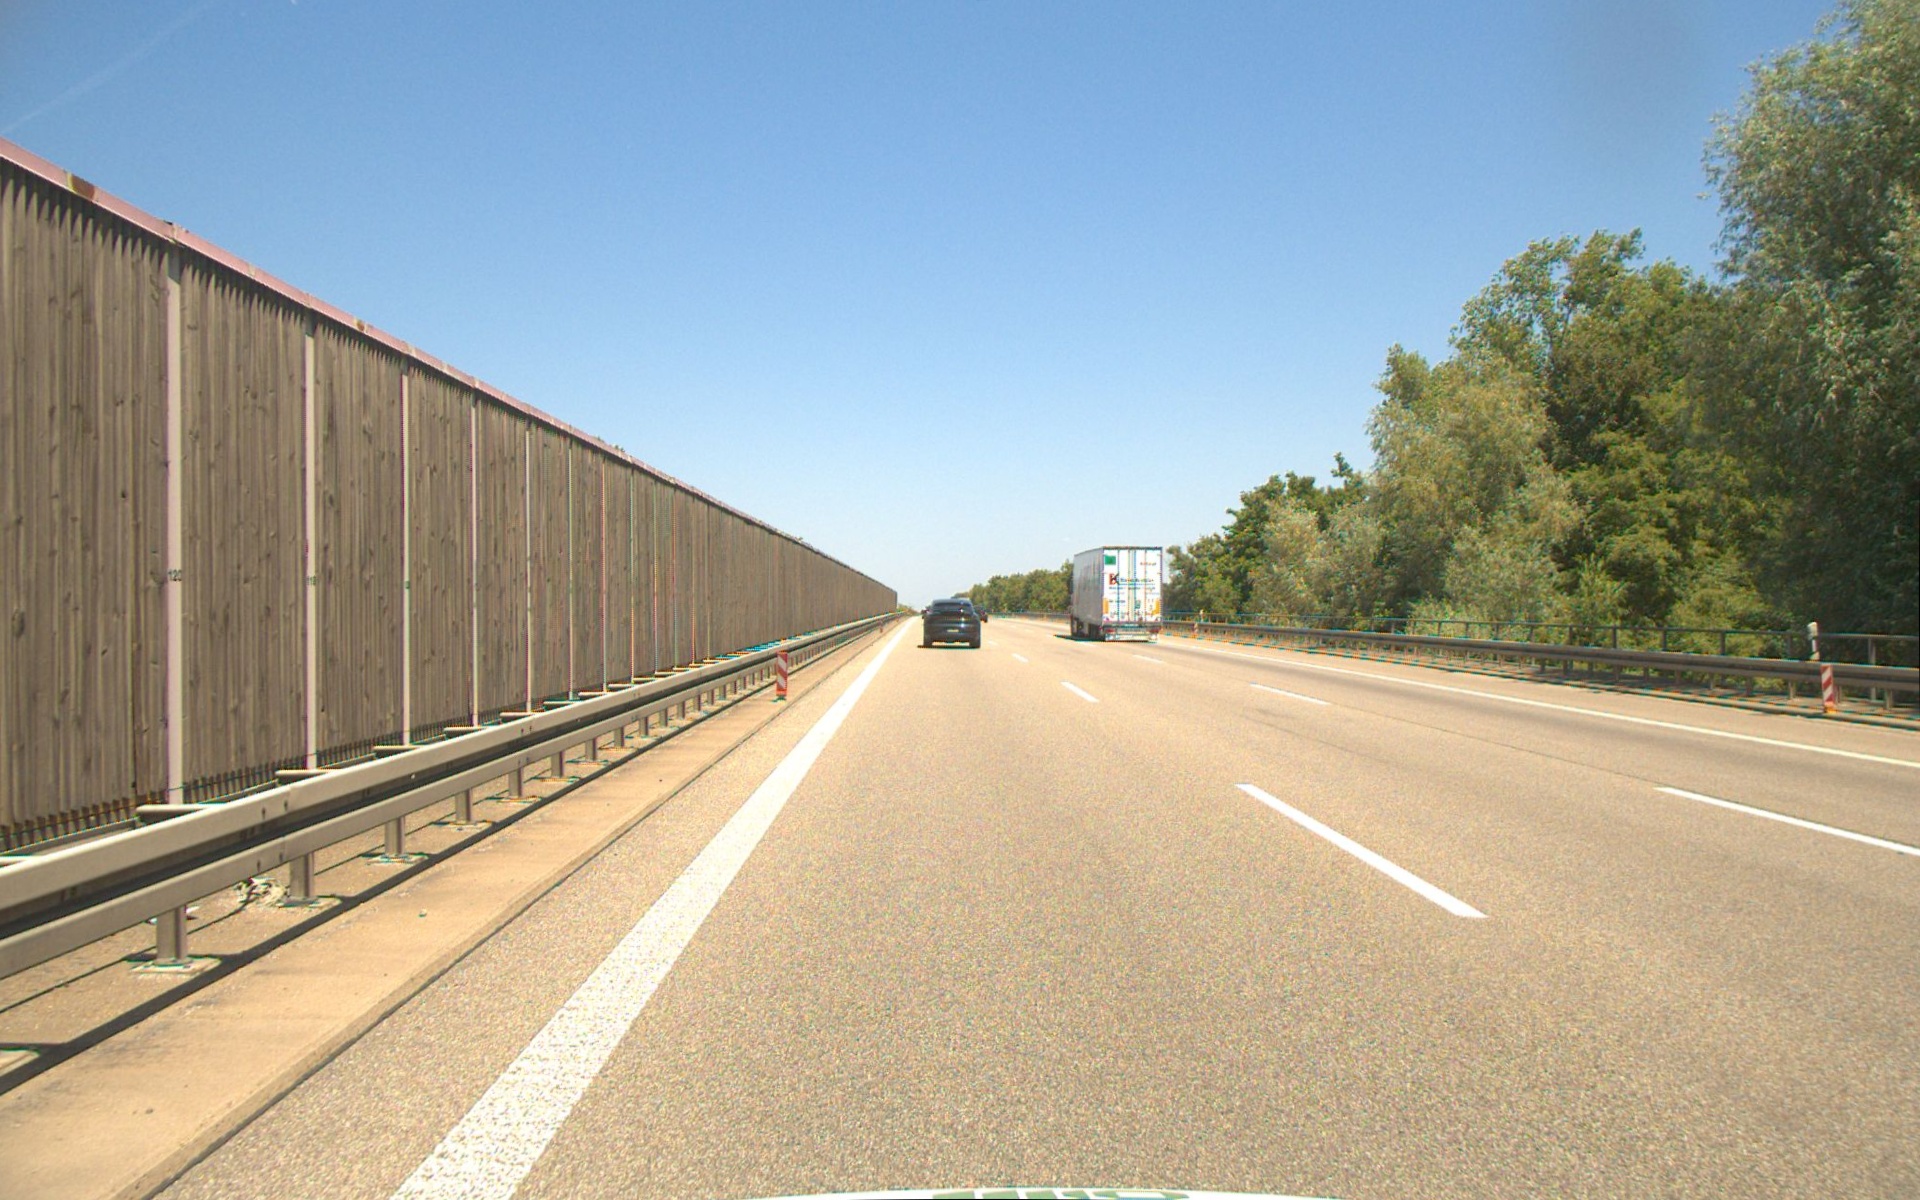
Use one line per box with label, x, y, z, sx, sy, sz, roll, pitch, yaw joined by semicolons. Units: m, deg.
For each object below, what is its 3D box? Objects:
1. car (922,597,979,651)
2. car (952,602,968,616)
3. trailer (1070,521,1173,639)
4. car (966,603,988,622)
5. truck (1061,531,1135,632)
car;-0.374;0.794;57.485;1.842;1.823;3.998;0;0;-3
car;0.043;1.124;200.635;1.864;1.612;4.303;-1;-1;-1
trailer;7.226;-0.846;76.281;3.203;4.922;14.026;0;0;-1
car;1.543;1.132;149.200;1.864;1.612;4.303;-1;-1;-1
truck;7.072;-0.915;85.704;3.168;4.975;6.970;0;0;-1
